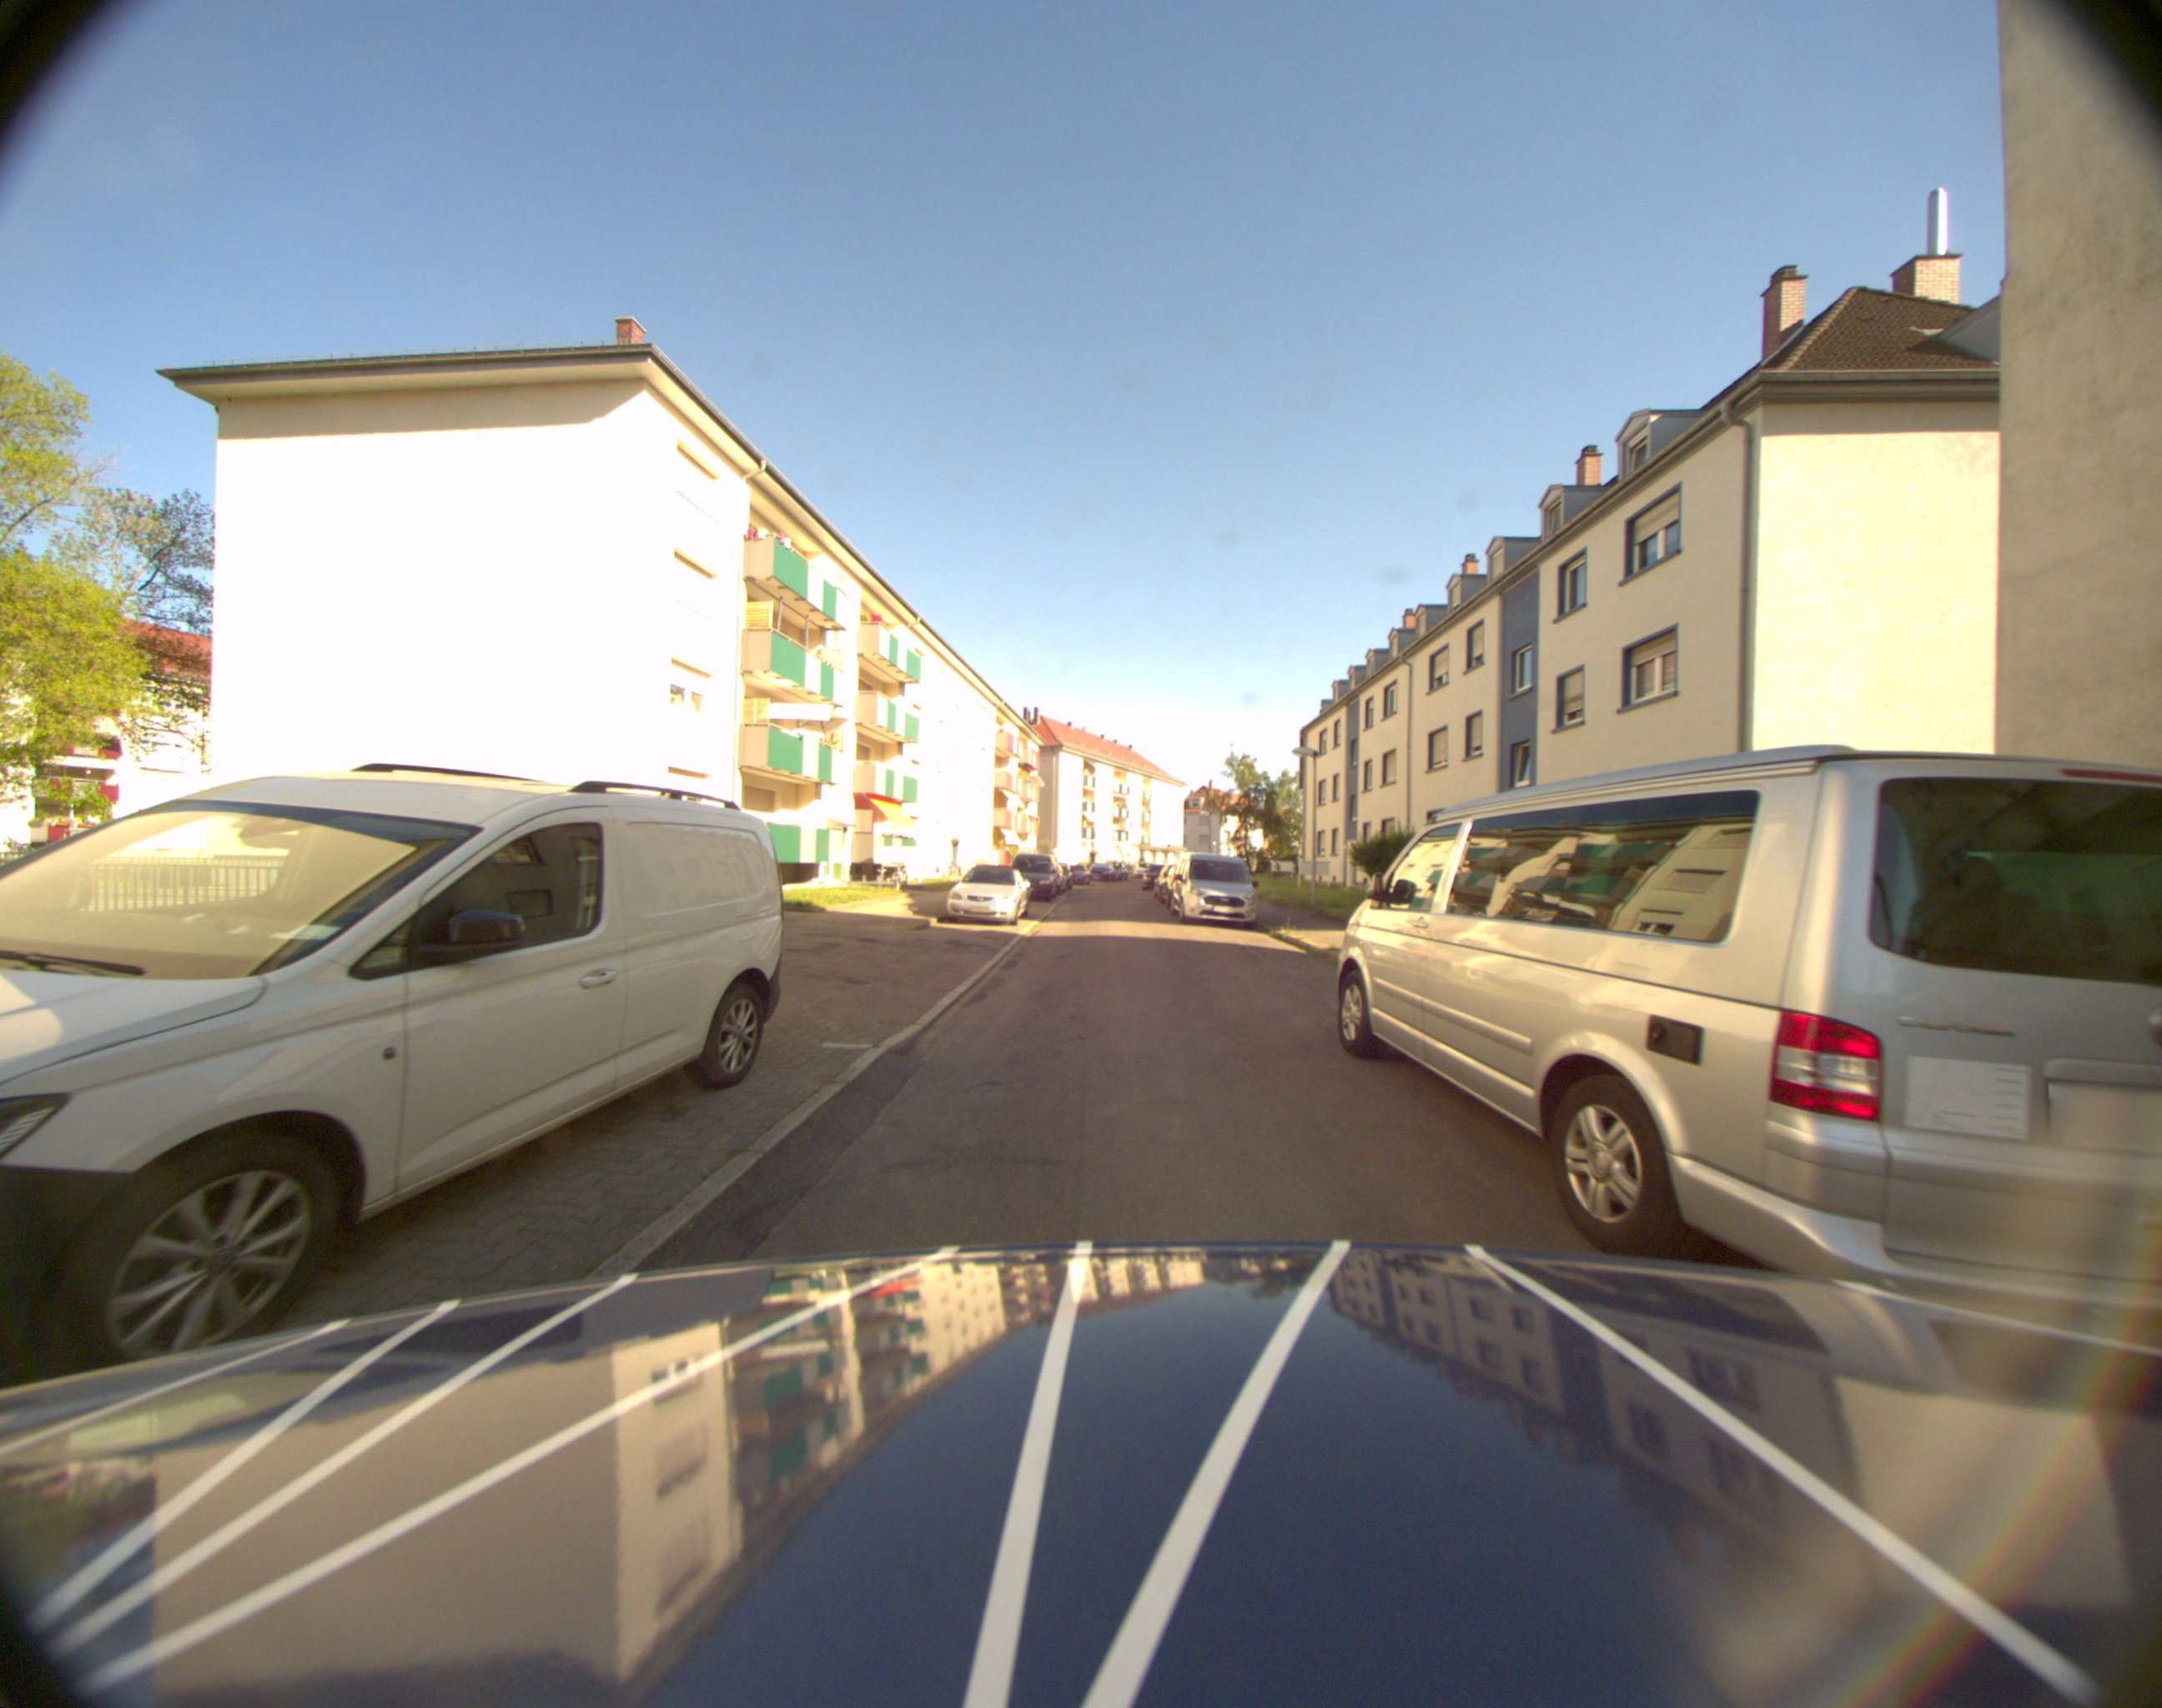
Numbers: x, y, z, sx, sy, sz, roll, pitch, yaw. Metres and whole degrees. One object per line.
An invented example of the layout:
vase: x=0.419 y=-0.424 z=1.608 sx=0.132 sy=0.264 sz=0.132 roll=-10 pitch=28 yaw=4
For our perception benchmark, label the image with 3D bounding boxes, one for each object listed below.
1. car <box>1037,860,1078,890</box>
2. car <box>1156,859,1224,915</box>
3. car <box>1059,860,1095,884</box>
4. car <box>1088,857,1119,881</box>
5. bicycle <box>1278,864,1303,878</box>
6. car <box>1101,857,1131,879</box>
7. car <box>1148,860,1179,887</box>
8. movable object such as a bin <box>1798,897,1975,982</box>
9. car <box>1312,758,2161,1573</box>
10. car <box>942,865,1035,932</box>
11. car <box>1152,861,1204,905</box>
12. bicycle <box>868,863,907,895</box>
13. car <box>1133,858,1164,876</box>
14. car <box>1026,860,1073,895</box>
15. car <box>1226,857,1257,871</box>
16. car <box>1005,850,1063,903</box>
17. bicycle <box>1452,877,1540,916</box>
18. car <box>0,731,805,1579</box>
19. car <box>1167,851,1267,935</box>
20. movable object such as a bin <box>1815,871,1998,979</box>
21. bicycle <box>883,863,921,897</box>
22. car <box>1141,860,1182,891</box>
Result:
car: x=-1.207 y=1.082 z=40.226 sx=1.667 sy=1.440 sz=3.861 roll=3 pitch=0 yaw=5
car: x=3.576 y=1.029 z=25.626 sx=1.677 sy=1.582 sz=4.165 roll=5 pitch=0 yaw=2
car: x=-0.202 y=1.144 z=49.227 sx=1.676 sy=1.411 sz=3.863 roll=3 pitch=0 yaw=9
car: x=1.804 y=1.174 z=59.407 sx=1.580 sy=1.752 sz=4.243 roll=3 pitch=0 yaw=13
bicycle: x=15.165 y=1.242 z=54.959 sx=1.733 sy=0.984 sz=0.463 roll=-2 pitch=0 yaw=16
car: x=3.022 y=1.172 z=64.738 sx=1.755 sy=1.724 sz=4.005 roll=-3 pitch=-2 yaw=14
car: x=5.199 y=1.178 z=47.395 sx=1.744 sy=1.507 sz=3.985 roll=4 pitch=0 yaw=7
movable object such as a bin: x=11.103 y=1.147 z=10.545 sx=1.132 sy=0.994 sz=1.204 roll=2 pitch=1 yaw=2
car: x=2.992 y=0.789 z=4.233 sx=1.955 sy=1.922 sz=4.857 roll=3 pitch=0 yaw=2
car: x=-2.216 y=1.029 z=19.318 sx=1.746 sy=1.398 sz=4.314 roll=3 pitch=0 yaw=1
car: x=3.804 y=1.089 z=30.213 sx=1.647 sy=1.510 sz=3.703 roll=4 pitch=0 yaw=2
bicycle: x=-6.712 y=0.864 z=26.464 sx=0.506 sy=1.038 sz=2.076 roll=0 pitch=0 yaw=10
car: x=6.892 y=1.317 z=77.060 sx=1.754 sy=1.625 sz=4.414 roll=3 pitch=0 yaw=22
car: x=-1.379 y=1.023 z=34.926 sx=1.643 sy=1.450 sz=3.861 roll=3 pitch=0 yaw=5
car: x=18.630 y=1.200 z=88.079 sx=1.571 sy=1.417 sz=3.988 roll=4 pitch=0 yaw=42
car: x=-1.766 y=0.839 z=30.013 sx=1.763 sy=1.829 sz=4.920 roll=3 pitch=0 yaw=2
bicycle: x=11.242 y=1.140 z=20.614 sx=2.072 sy=0.956 sz=0.501 roll=-2 pitch=0 yaw=2
car: x=-3.093 y=0.616 z=3.284 sx=1.801 sy=1.835 sz=4.541 roll=4 pitch=0 yaw=4
car: x=3.386 y=0.903 z=19.841 sx=1.804 sy=1.819 sz=4.950 roll=4 pitch=0 yaw=3
movable object such as a bin: x=12.278 y=1.011 z=11.385 sx=1.132 sy=1.425 sz=1.437 roll=2 pitch=1 yaw=2
bicycle: x=-6.172 y=0.876 z=26.327 sx=0.506 sy=1.086 sz=2.076 roll=0 pitch=0 yaw=10
car: x=4.247 y=1.118 z=40.745 sx=1.904 sy=1.450 sz=4.397 roll=4 pitch=0 yaw=4
